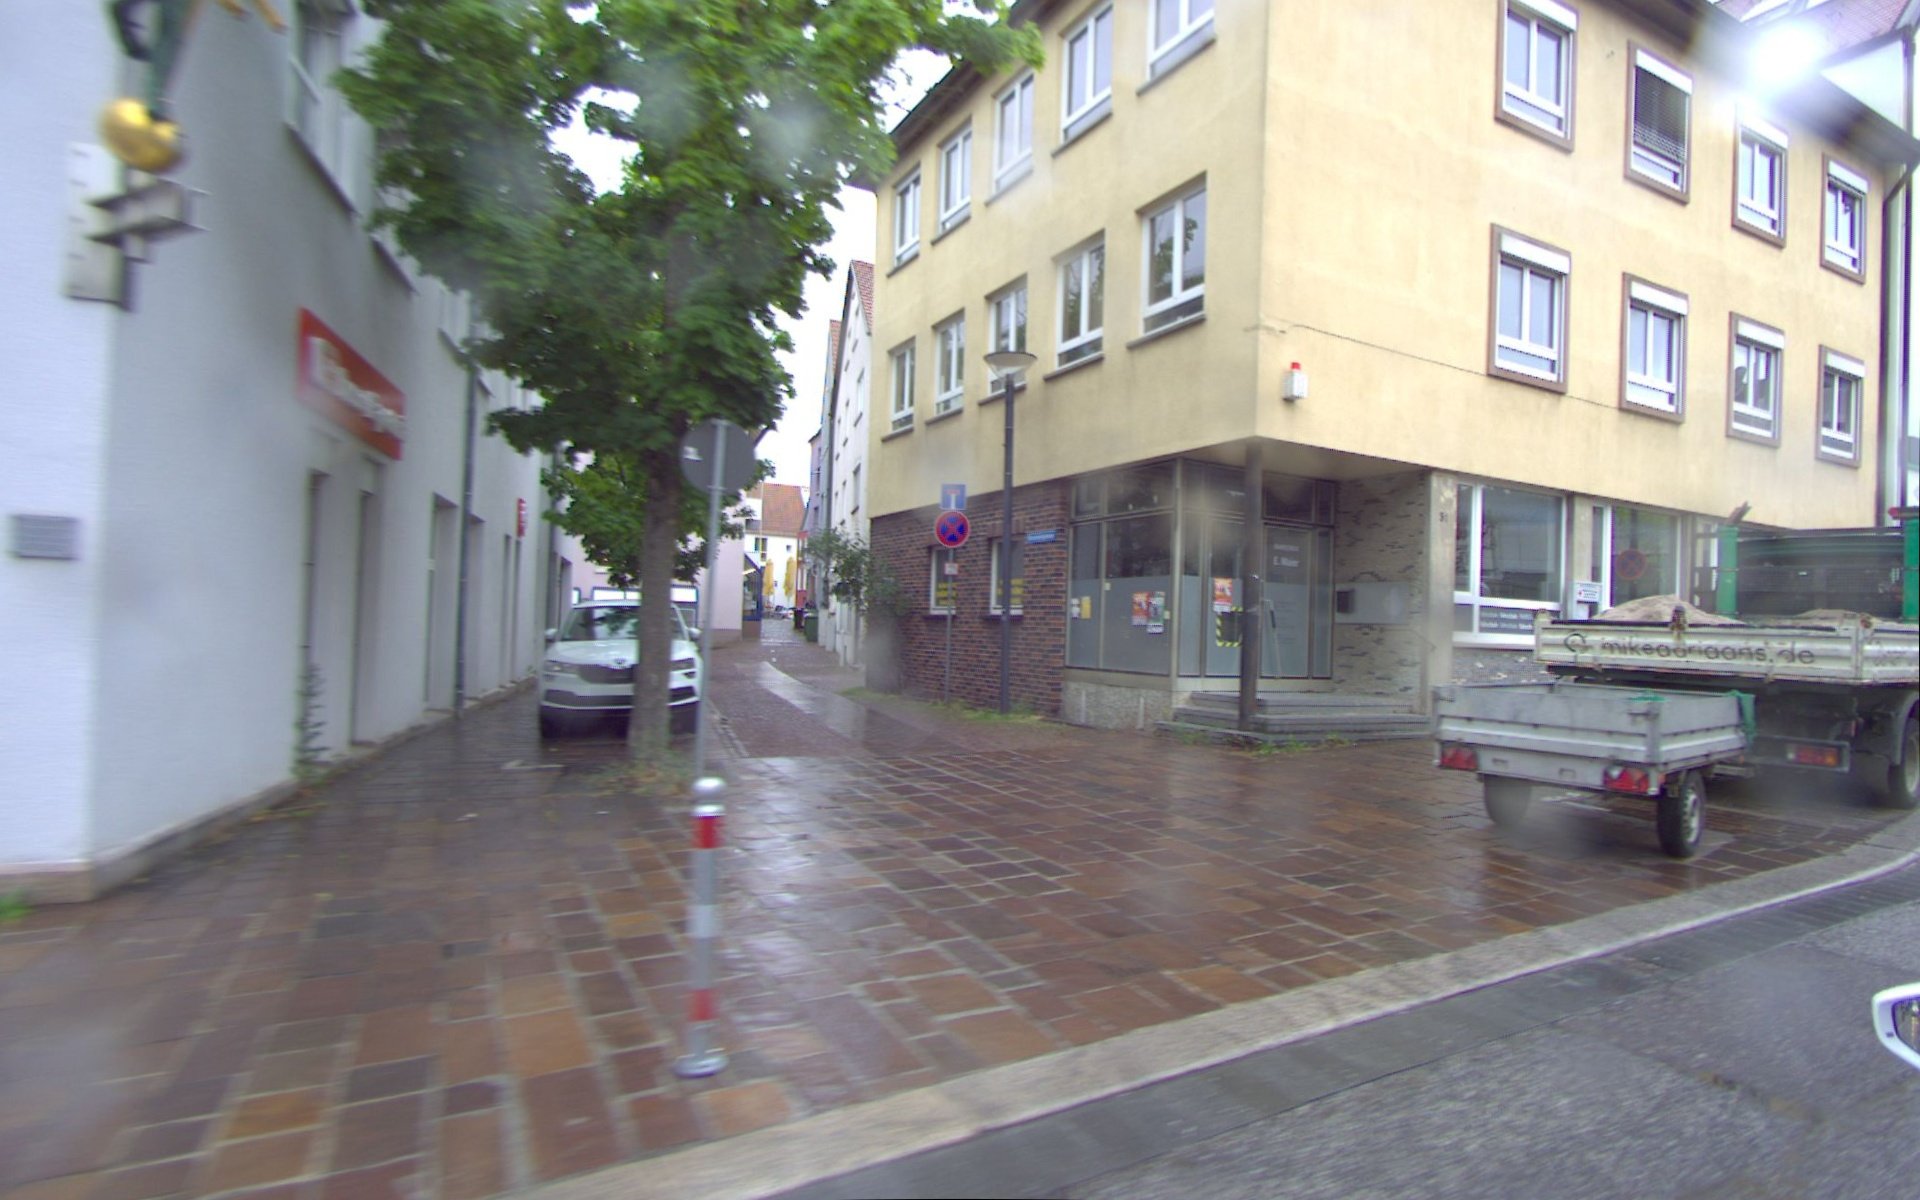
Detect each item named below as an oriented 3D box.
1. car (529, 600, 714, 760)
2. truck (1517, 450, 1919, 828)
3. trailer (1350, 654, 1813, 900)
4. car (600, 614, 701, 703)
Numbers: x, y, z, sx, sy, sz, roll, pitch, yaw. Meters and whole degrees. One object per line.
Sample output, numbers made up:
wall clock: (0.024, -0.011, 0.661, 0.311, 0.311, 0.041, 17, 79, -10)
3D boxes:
car: (-4.123, 0.920, 12.570, 1.826, 1.639, 4.107, 1, -3, -16)
truck: (8.252, 0.243, 9.851, 6.419, 2.629, 2.383, -1, 0, -36)
trailer: (4.428, 1.047, 7.096, 2.991, 1.140, 1.839, -1, 0, -37)
car: (-6.373, 1.180, 20.831, 1.790, 1.639, 4.267, 1, -3, -16)
